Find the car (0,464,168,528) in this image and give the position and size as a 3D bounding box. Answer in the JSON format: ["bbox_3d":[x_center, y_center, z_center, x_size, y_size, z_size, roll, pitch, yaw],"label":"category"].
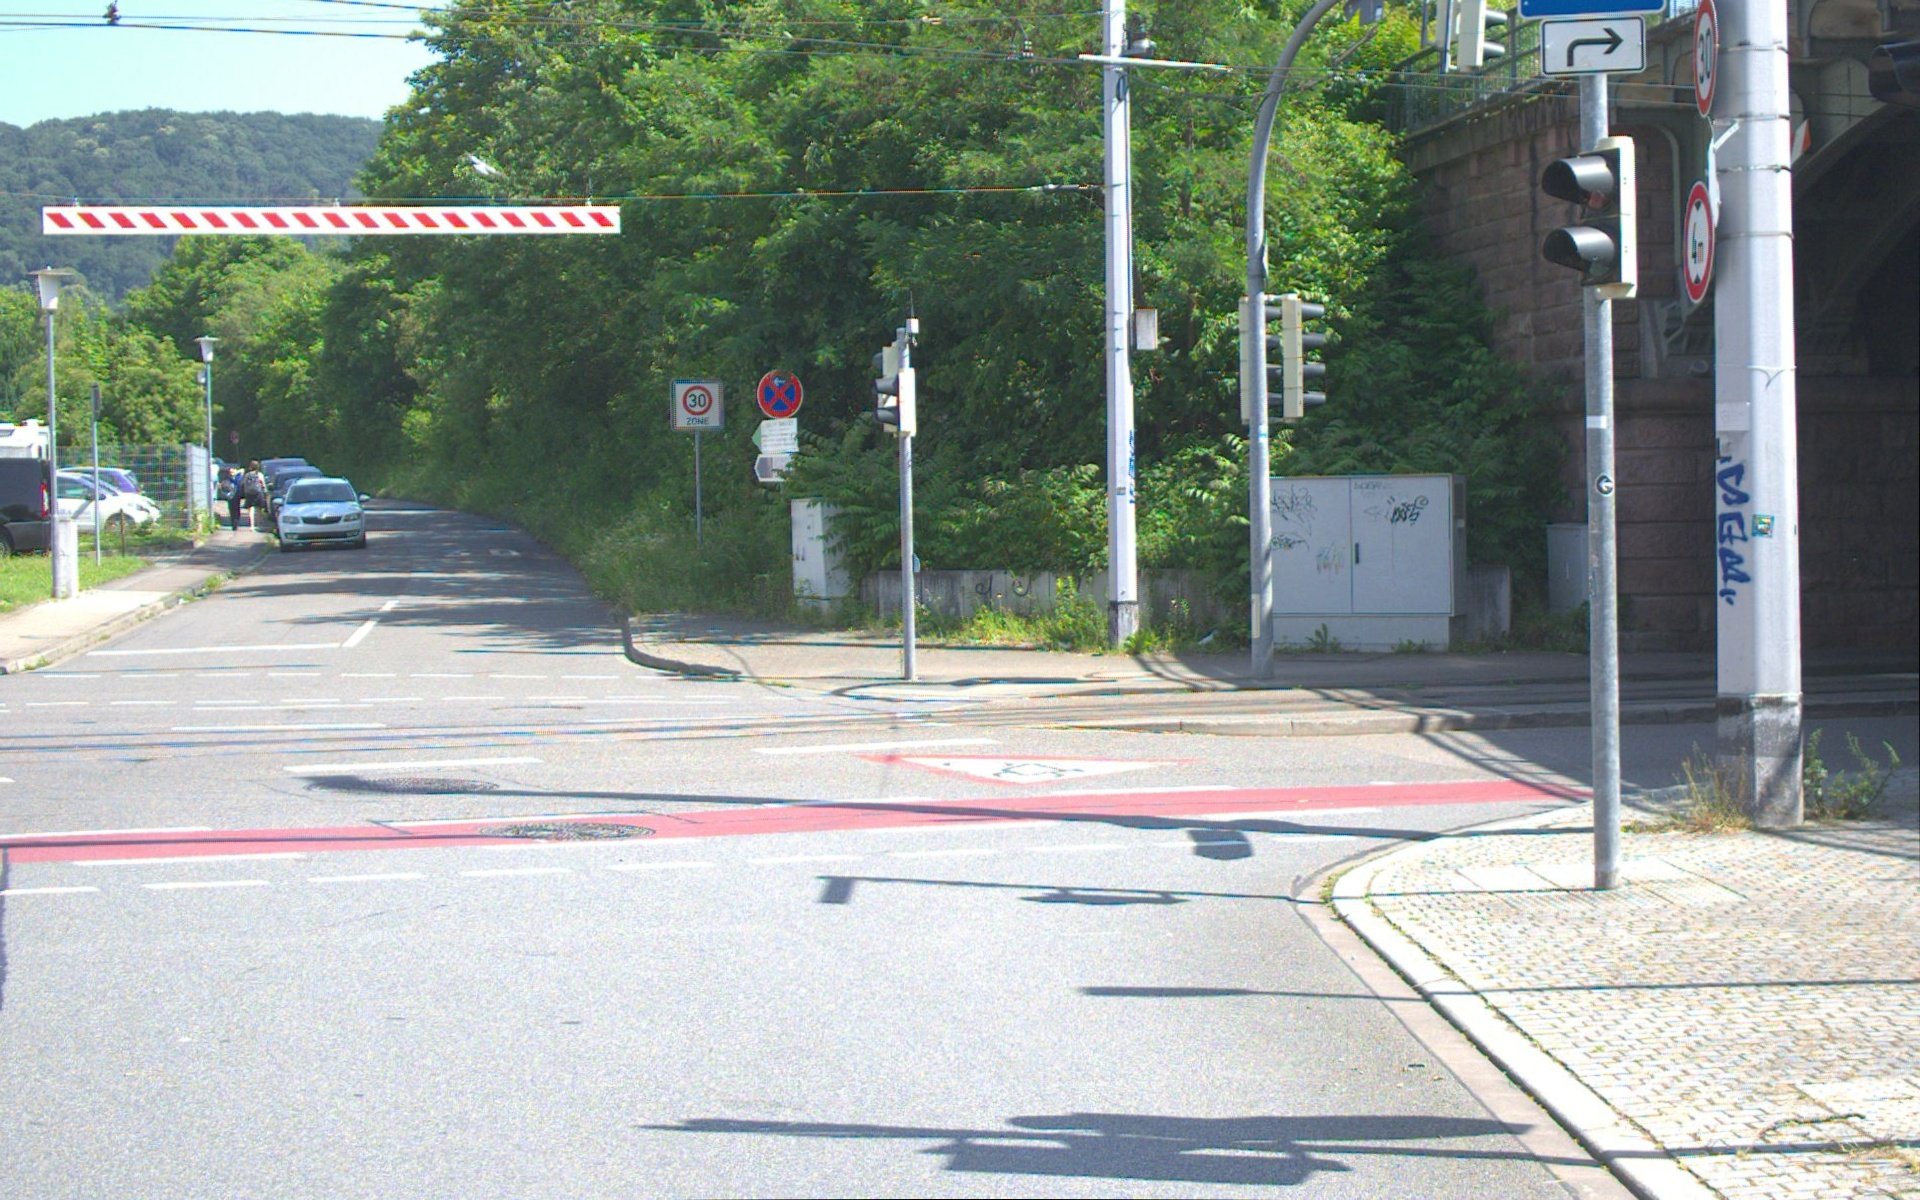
[{"bbox_3d":[-19.924,-2.341,77.811,3.719,1.367,1.605,1,1,-7],"label":"car"}]

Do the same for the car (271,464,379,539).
[{"bbox_3d":[-13.391,-2.098,72.720,2.086,1.505,4.541,1,2,-9],"label":"car"}]

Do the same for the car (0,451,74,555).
[{"bbox_3d":[-18.572,-1.680,61.182,5.246,1.810,2.001,-2,2,-10],"label":"car"}]

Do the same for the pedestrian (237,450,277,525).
[{"bbox_3d":[-16.727,-2.672,81.824,0.875,1.756,0.731,1,0,-9],"label":"pedestrian"}]

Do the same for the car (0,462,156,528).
[{"bbox_3d":[-19.629,-2.295,75.392,3.719,1.367,1.605,1,0,-7],"label":"car"}]

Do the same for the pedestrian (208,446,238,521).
[{"bbox_3d":[-17.546,-2.765,81.875,0.653,1.756,0.804,1,0,-9],"label":"pedestrian"}]
